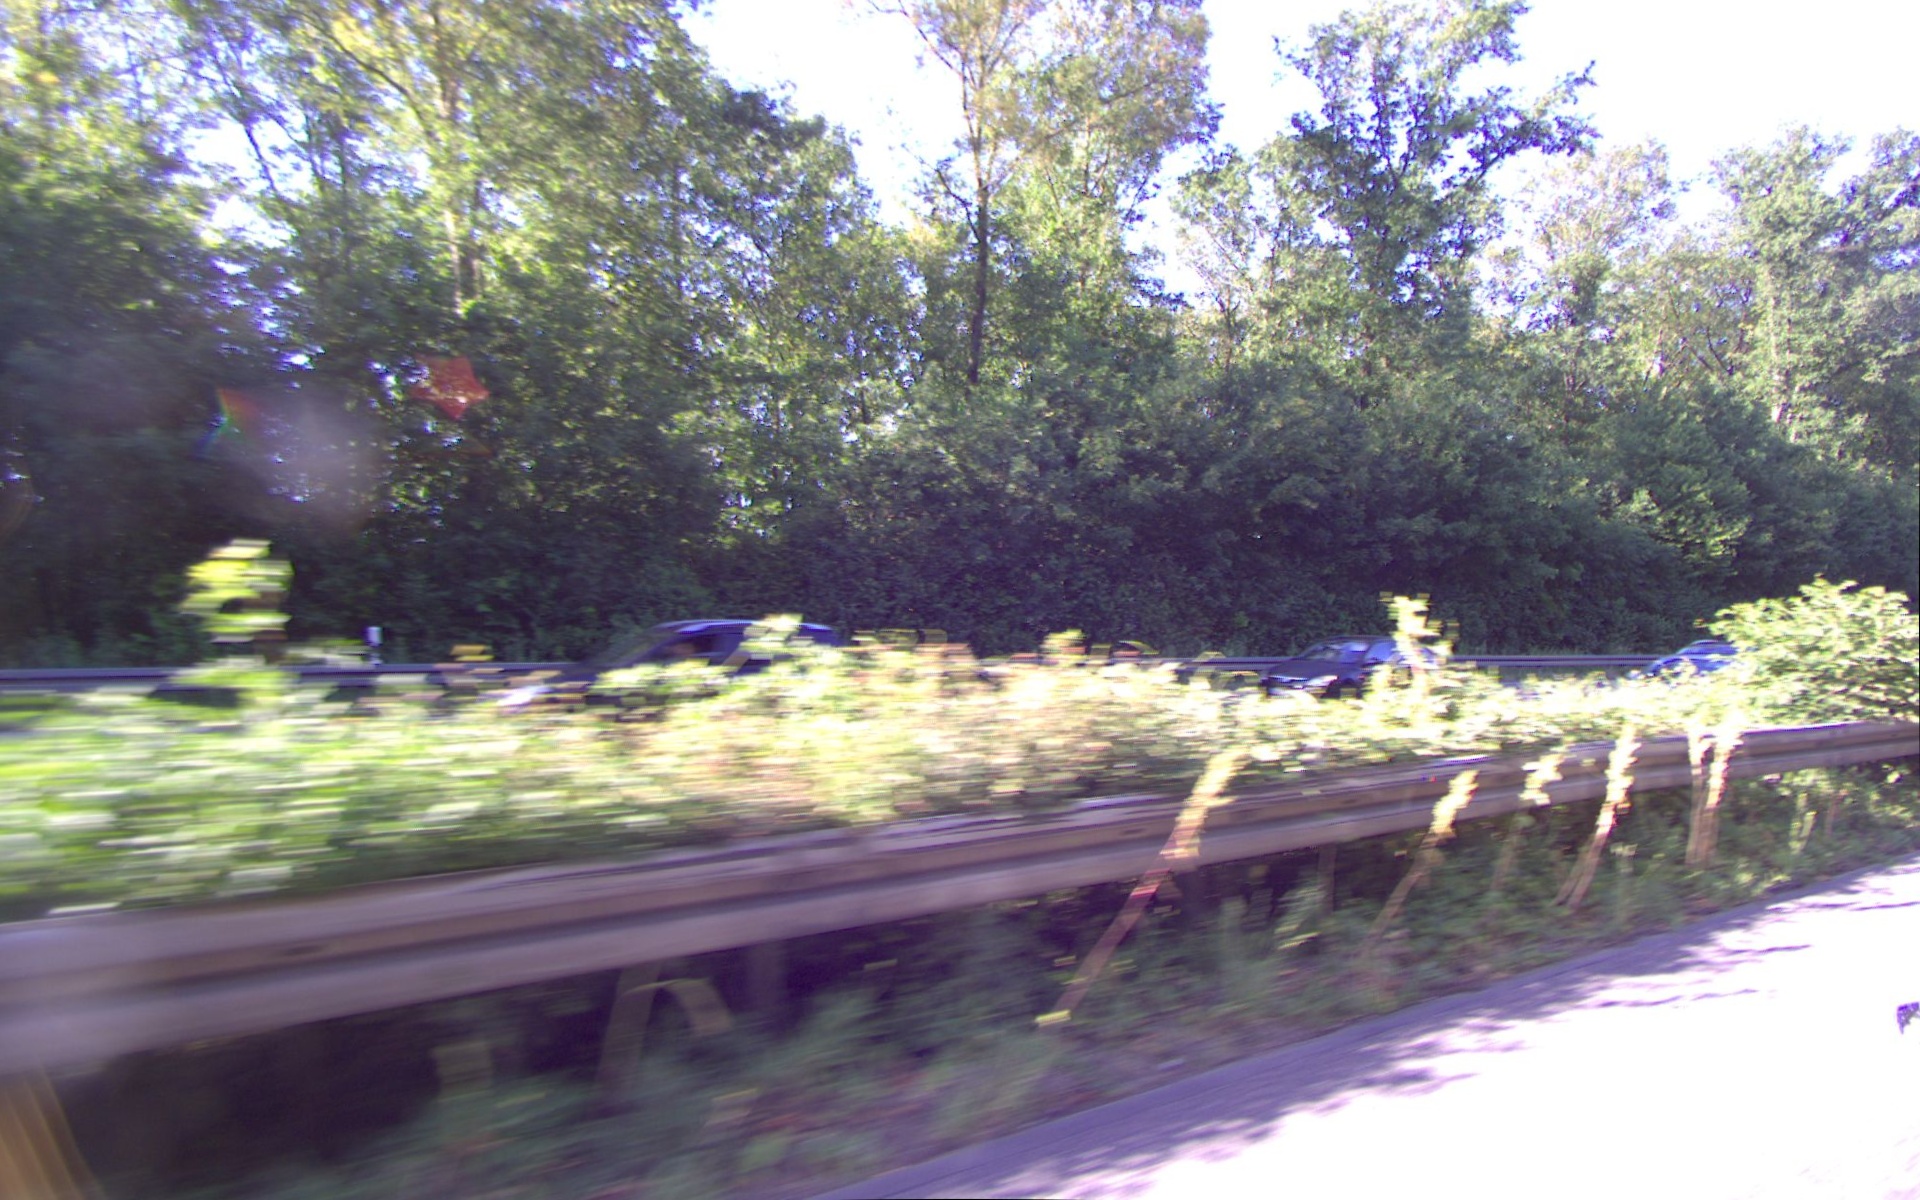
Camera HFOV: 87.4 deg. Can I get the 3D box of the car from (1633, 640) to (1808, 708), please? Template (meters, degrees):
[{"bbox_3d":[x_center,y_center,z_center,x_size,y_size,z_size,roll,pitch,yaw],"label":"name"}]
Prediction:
[{"bbox_3d":[18.627,1.762,24.551,4.723,1.442,1.753,2,0,-30],"label":"car"}]

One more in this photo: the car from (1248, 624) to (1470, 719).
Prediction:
[{"bbox_3d":[7.999,1.365,19.993,4.456,1.648,1.886,2,0,-33],"label":"car"}]

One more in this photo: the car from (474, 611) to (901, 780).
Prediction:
[{"bbox_3d":[-3.171,1.023,11.938,4.568,1.646,1.888,2,0,-30],"label":"car"}]
